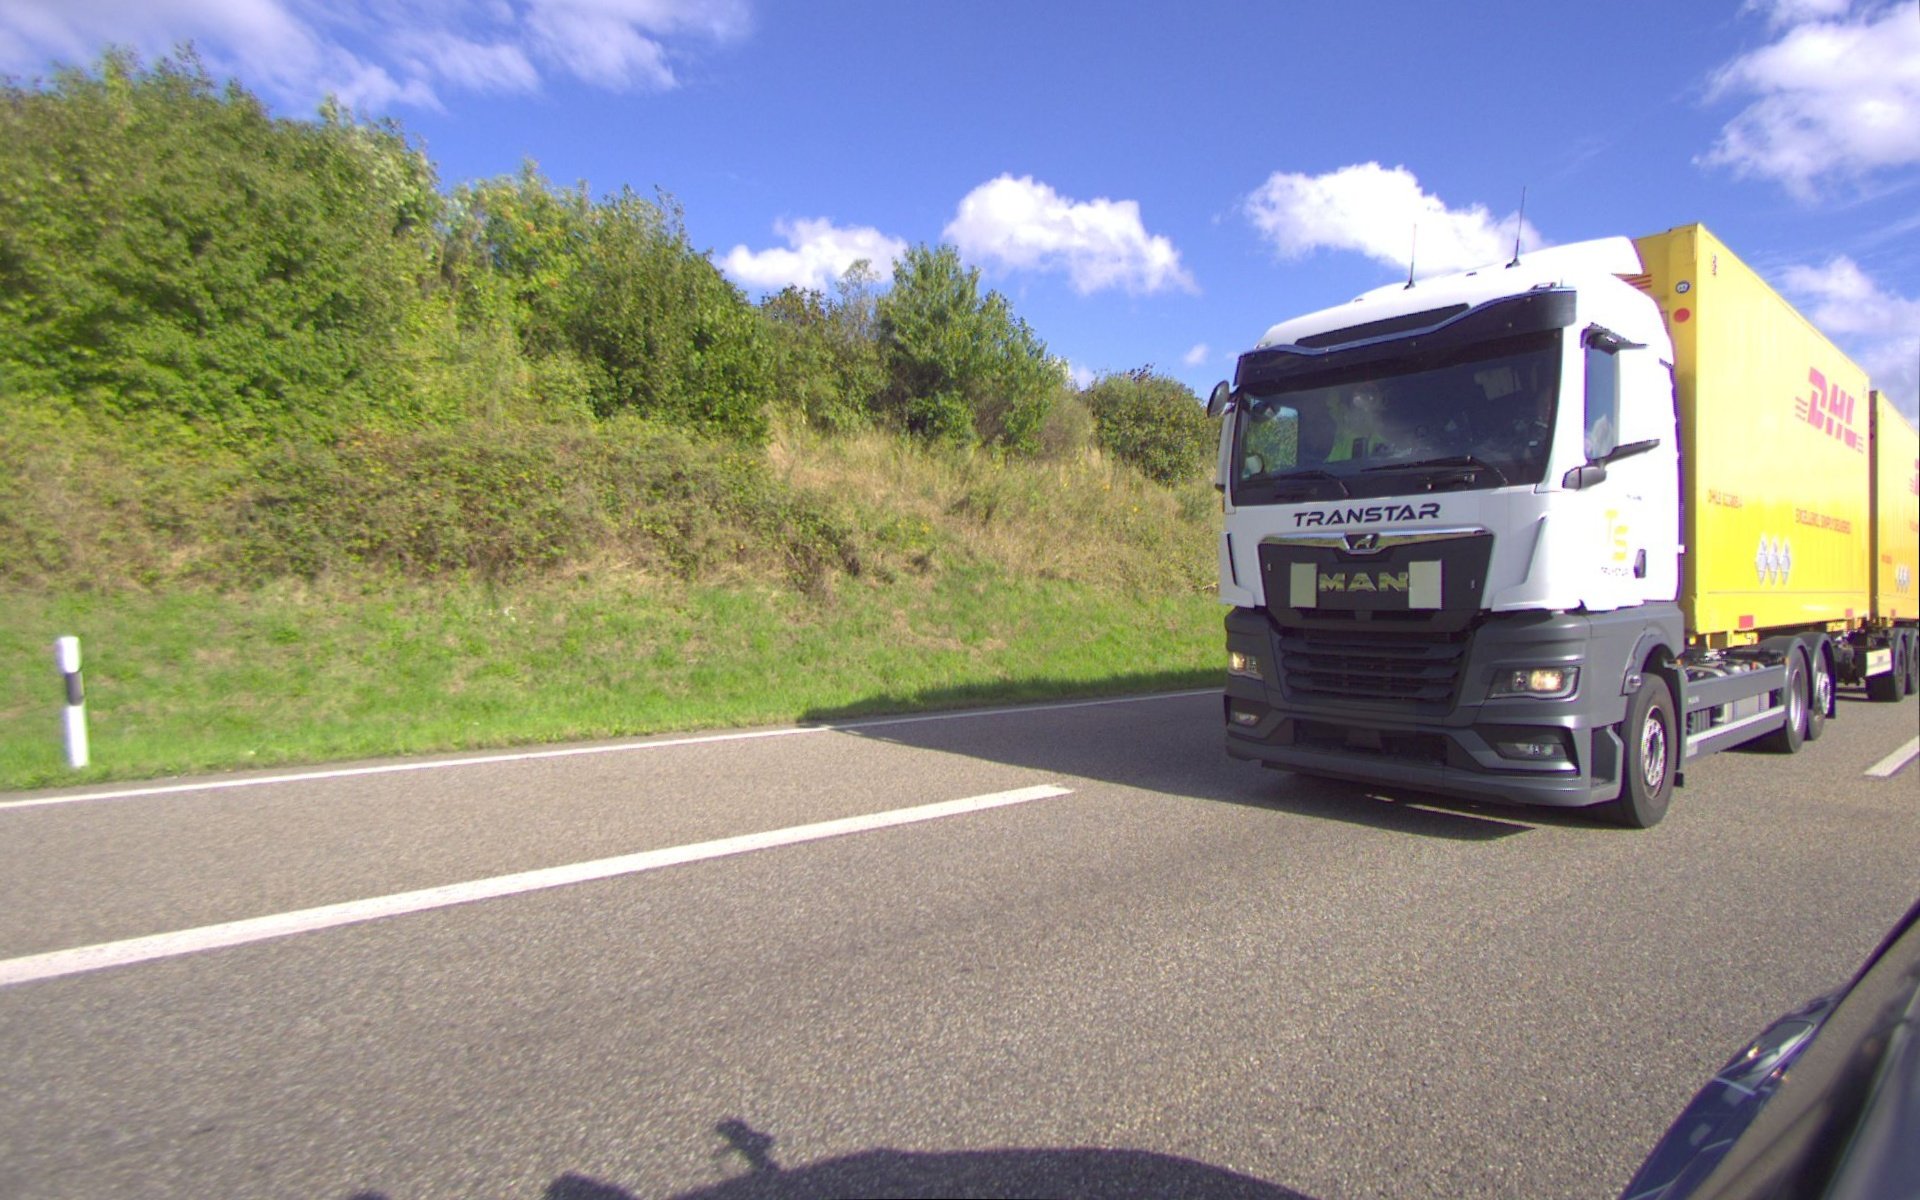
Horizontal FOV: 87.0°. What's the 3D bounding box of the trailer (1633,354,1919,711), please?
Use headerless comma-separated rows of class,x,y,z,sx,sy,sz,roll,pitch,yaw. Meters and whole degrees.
trailer,13.098,-0.795,15.473,8.770,4.120,2.416,0,-1,-41

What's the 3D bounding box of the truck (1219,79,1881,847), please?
truck,6.230,-0.754,9.462,9.496,4.120,2.416,0,-1,-41

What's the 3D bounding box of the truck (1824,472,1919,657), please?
truck,23.618,-0.820,24.856,6.377,4.141,2.653,-1,0,-40

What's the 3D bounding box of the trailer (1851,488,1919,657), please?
trailer,28.806,-0.741,29.321,13.736,4.150,2.646,-1,0,-41
